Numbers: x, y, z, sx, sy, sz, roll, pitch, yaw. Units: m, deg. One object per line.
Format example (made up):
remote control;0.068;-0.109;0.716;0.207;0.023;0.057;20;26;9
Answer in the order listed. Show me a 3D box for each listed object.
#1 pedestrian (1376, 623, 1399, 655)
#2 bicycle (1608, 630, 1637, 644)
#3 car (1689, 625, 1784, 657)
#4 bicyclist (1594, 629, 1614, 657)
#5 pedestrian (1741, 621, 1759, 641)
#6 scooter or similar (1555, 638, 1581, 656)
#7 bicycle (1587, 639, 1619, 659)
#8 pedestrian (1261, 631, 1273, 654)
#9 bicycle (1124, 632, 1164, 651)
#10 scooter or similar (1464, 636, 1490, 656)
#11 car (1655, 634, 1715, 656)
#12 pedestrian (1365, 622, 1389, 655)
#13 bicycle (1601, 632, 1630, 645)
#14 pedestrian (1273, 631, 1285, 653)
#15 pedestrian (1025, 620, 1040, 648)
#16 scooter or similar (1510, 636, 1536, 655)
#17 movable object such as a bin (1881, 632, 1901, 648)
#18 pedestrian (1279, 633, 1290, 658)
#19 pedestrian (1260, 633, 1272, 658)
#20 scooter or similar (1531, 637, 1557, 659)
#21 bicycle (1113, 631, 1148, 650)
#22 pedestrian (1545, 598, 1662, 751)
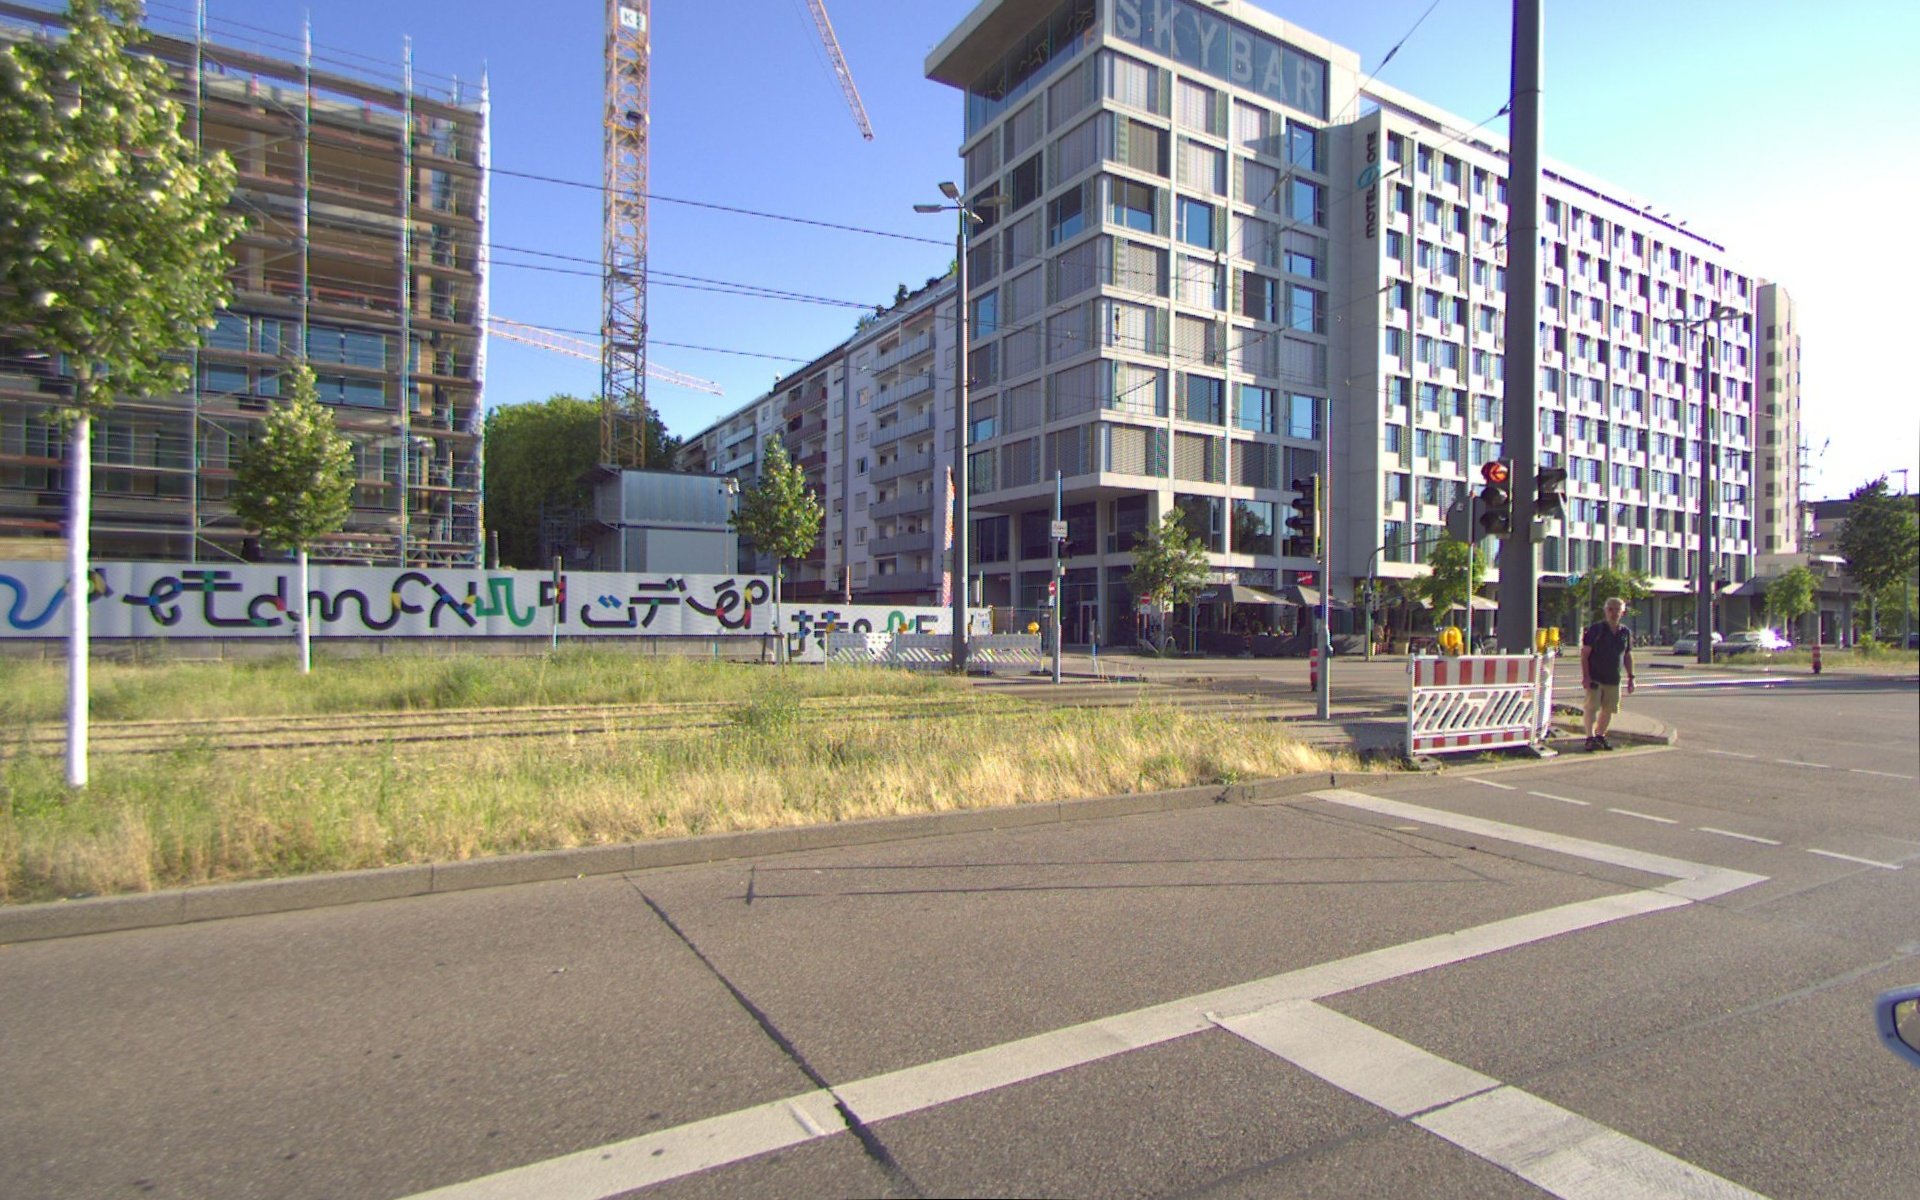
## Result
pedestrian;23.098;2.099;54.282;0.792;1.744;0.868;1;-1;-21
bicycle;49.701;2.755;75.391;0.477;0.979;1.742;1;0;-31
car;35.057;1.833;45.315;4.796;1.361;1.881;1;-1;-32
bicyclist;35.134;2.340;54.829;0.841;1.484;0.622;1;-1;-31
pedestrian;63.936;2.507;81.329;0.958;1.675;0.840;1;-1;-29
scooter or similar;34.689;2.681;57.286;0.430;1.033;1.238;1;-1;-30
bicycle;35.114;2.680;54.819;2.054;1.081;0.622;1;-1;-31
pedestrian;17.106;2.353;55.968;0.491;1.238;0.429;1;-1;-31
bicycle;9.392;2.089;51.170;2.192;0.948;0.615;1;-1;-32
scooter or similar;27.504;2.445;53.419;0.401;1.019;1.238;1;-1;-30
car;46.962;2.900;65.025;3.954;1.346;1.748;1;0;-31
pedestrian;22.391;2.084;53.936;0.792;1.744;0.868;1;-1;-21
bicycle;48.542;2.813;74.401;0.507;0.917;1.791;1;-1;-37
pedestrian;17.946;2.371;56.450;0.491;1.238;0.429;1;-1;-31
pedestrian;4.079;1.915;56.586;0.571;1.518;0.582;1;-1;-33
scooter or similar;30.827;2.497;54.997;0.430;1.033;1.238;1;-1;-30
movable object such as a bin;76.557;3.294;82.628;0.924;1.297;0.857;1;-1;-17
pedestrian;16.186;2.275;50.111;0.428;1.209;0.361;1;-1;-34
pedestrian;15.236;2.254;50.034;0.428;1.209;0.361;1;-1;-34
scooter or similar;32.400;2.648;55.759;0.401;1.187;1.238;1;-1;-30
bicycle;8.814;2.075;51.920;1.880;0.948;0.532;1;-1;-32
pedestrian;7.311;0.825;11.455;0.750;1.671;0.927;1;-1;1
